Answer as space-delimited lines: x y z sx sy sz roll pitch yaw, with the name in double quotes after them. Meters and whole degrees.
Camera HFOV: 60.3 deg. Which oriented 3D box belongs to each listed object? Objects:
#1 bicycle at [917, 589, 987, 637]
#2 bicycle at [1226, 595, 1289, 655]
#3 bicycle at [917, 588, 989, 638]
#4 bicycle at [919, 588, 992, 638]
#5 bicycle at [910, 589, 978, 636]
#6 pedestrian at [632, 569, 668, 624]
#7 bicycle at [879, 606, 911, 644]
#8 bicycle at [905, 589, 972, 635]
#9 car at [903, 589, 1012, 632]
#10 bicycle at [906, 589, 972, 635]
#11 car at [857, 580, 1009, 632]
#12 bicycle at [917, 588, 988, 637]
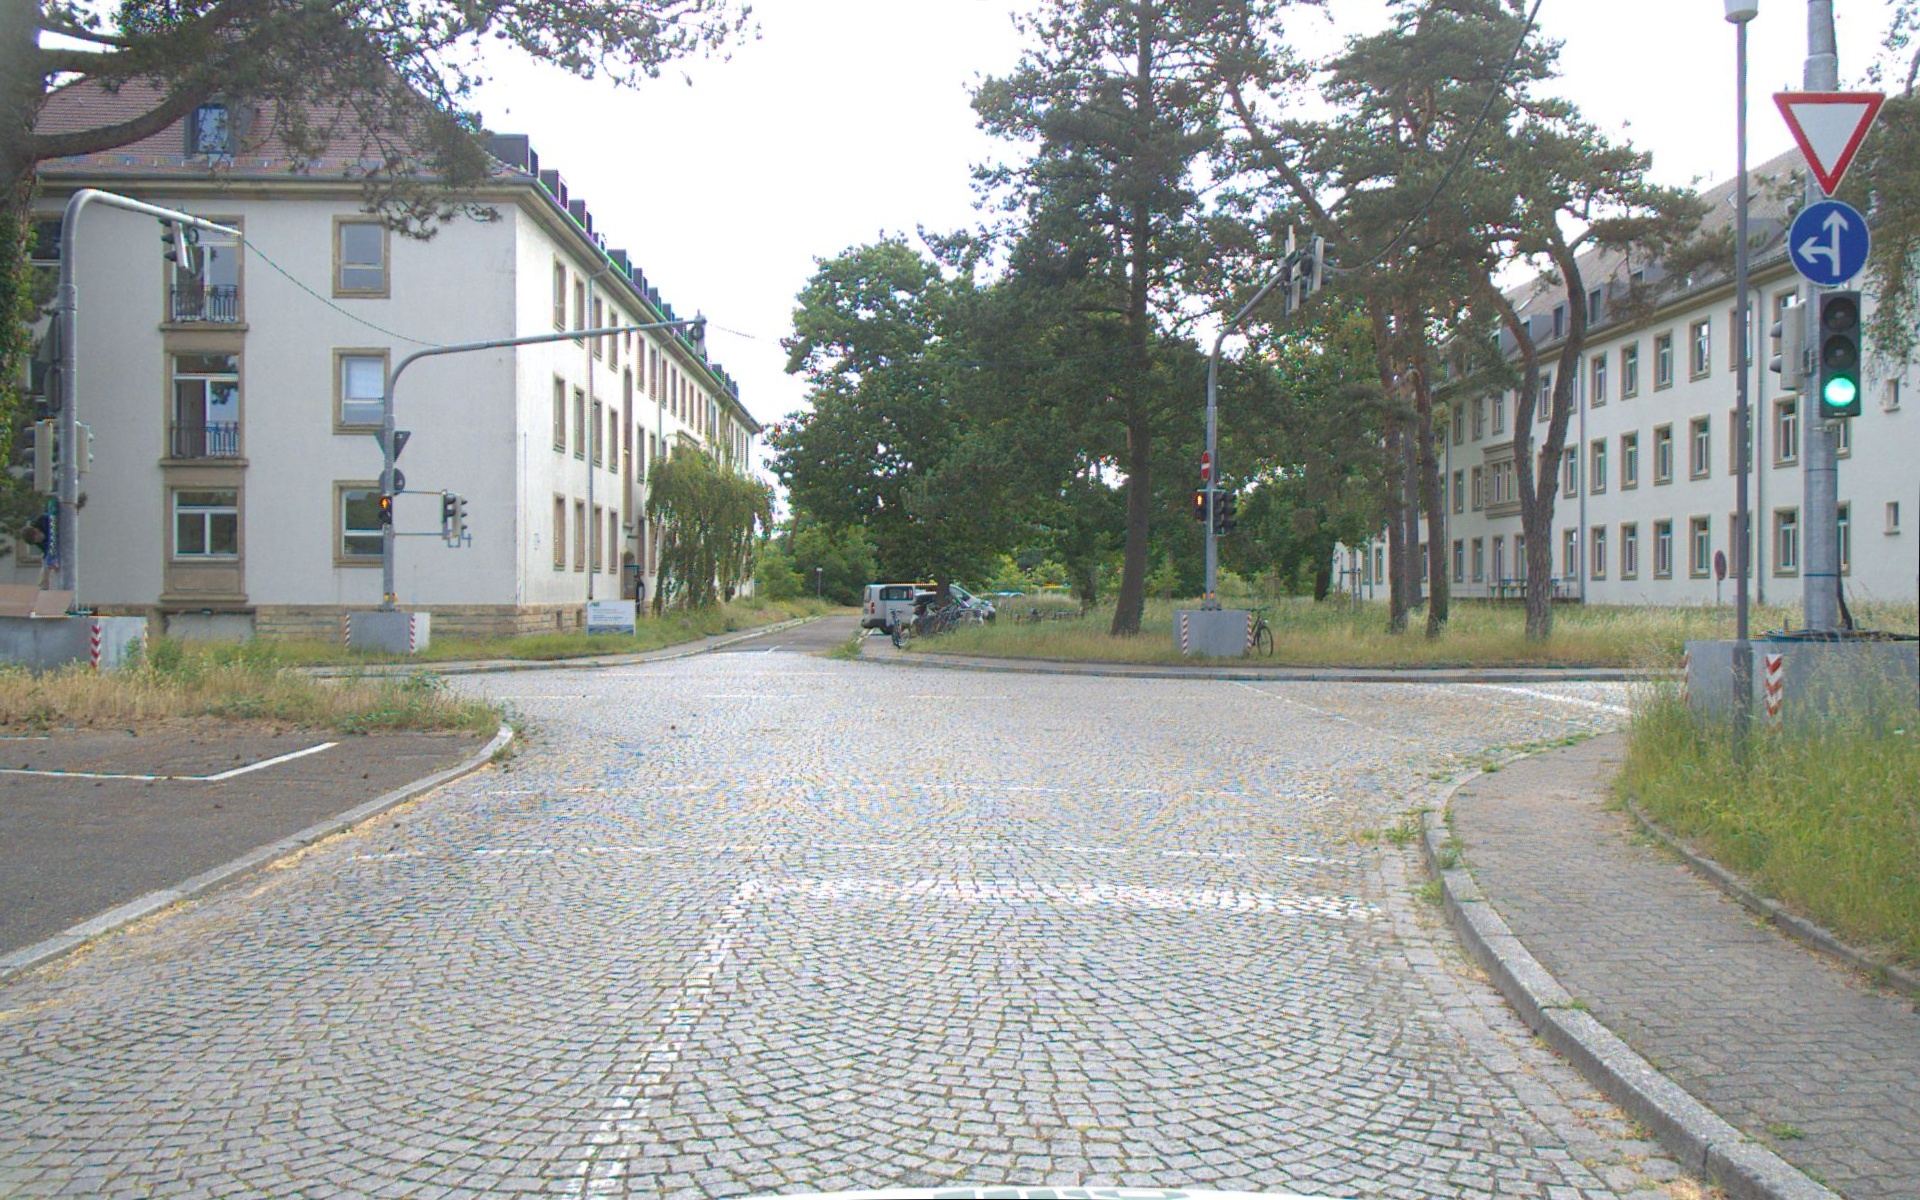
-0.231 0.373 48.510 2.028 1.402 0.620 0 0 -1 "bicycle"
6.158 0.499 34.324 0.890 1.197 1.873 0 0 -2 "bicycle"
-0.197 0.369 47.089 2.028 1.402 0.620 0 0 -1 "bicycle"
-0.136 0.369 46.420 2.028 1.402 0.620 0 0 -1 "bicycle"
-0.475 0.366 49.301 2.028 1.402 0.620 0 0 -1 "bicycle"
-11.539 -0.127 61.600 1.064 2.049 1.022 0 0 4 "pedestrian"
-1.749 0.652 44.577 0.605 0.980 2.078 0 0 5 "bicycle"
-0.643 0.363 50.035 2.028 1.402 0.620 0 0 -1 "bicycle"
-0.109 0.381 60.943 3.857 1.571 1.997 0 0 -6 "car"
-0.650 0.366 50.782 2.028 1.402 0.620 0 0 -1 "bicycle"
-1.076 0.215 64.286 5.595 1.944 2.222 0 0 -14 "car"
-0.217 0.371 47.713 2.028 1.402 0.620 0 0 -1 "bicycle"
